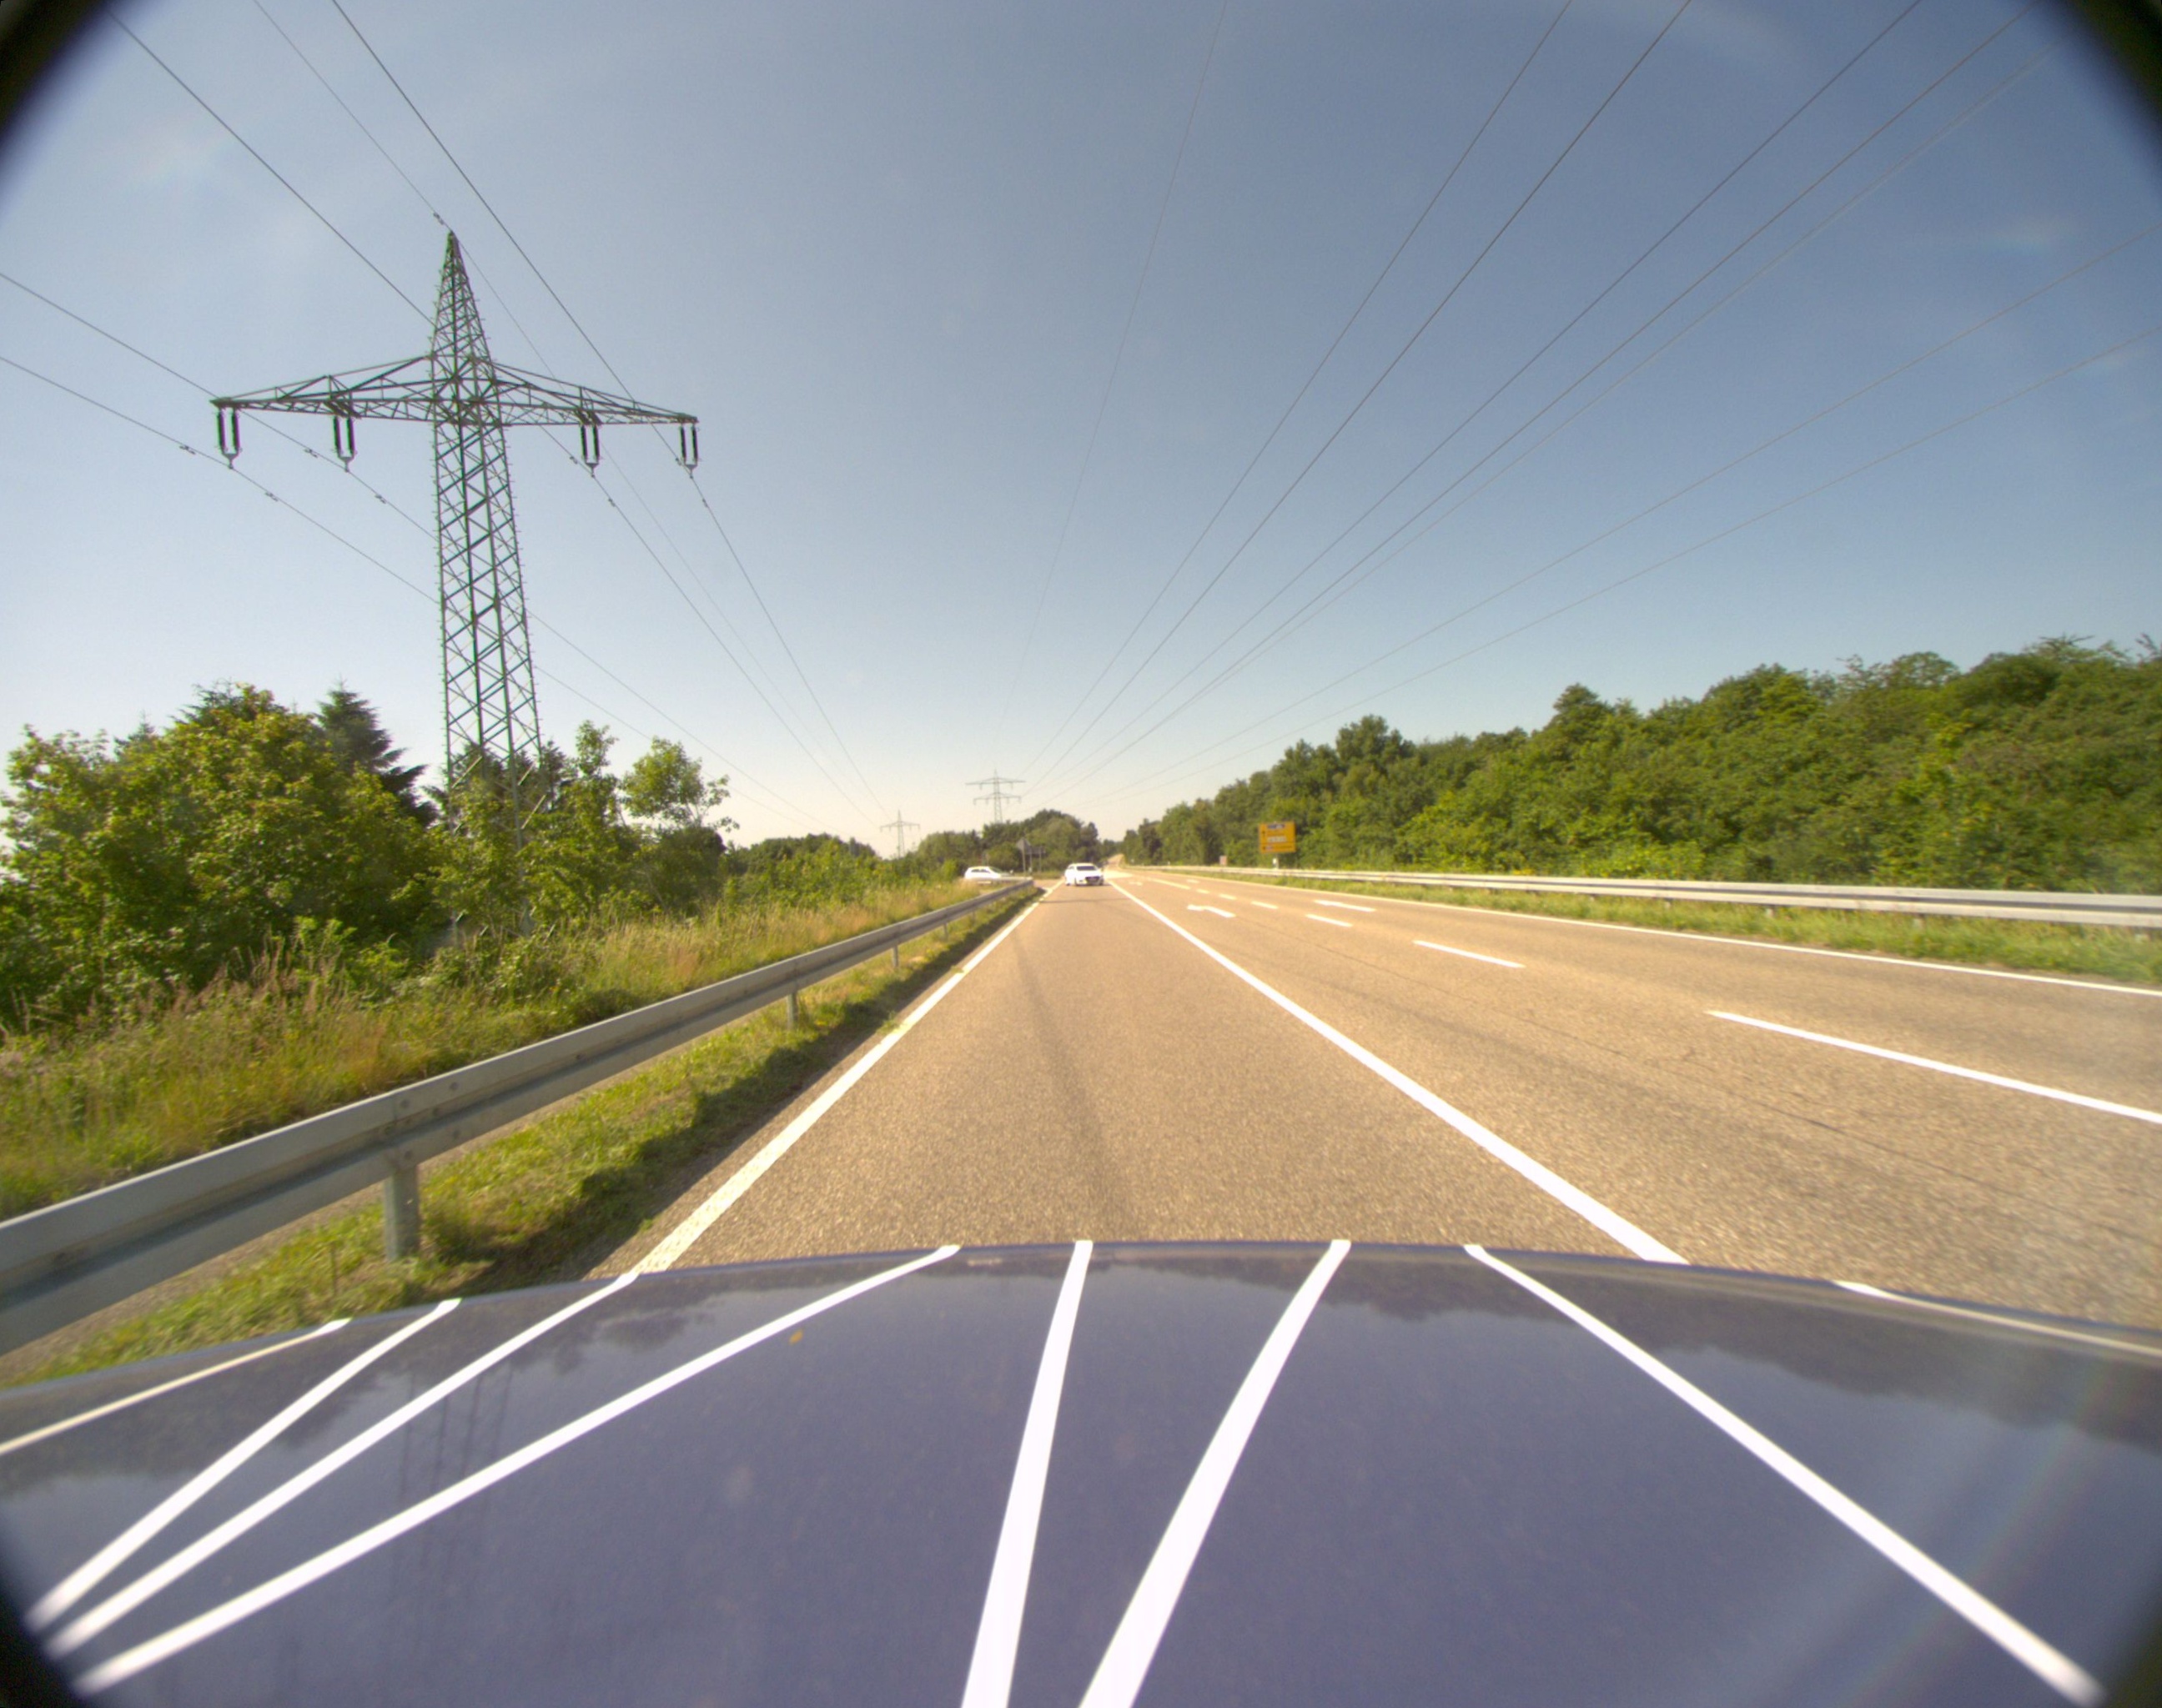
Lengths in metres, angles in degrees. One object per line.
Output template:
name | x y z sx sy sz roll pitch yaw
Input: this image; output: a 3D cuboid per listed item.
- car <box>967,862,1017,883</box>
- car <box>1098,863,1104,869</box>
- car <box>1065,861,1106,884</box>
car | -7.166 1.483 61.004 3.652 1.460 1.553 -3 0 27
car | 4.589 2.746 175.005 1.511 1.237 3.074 -2 0 1
car | 0.267 1.271 50.813 1.685 1.471 4.469 0 -2 -14
